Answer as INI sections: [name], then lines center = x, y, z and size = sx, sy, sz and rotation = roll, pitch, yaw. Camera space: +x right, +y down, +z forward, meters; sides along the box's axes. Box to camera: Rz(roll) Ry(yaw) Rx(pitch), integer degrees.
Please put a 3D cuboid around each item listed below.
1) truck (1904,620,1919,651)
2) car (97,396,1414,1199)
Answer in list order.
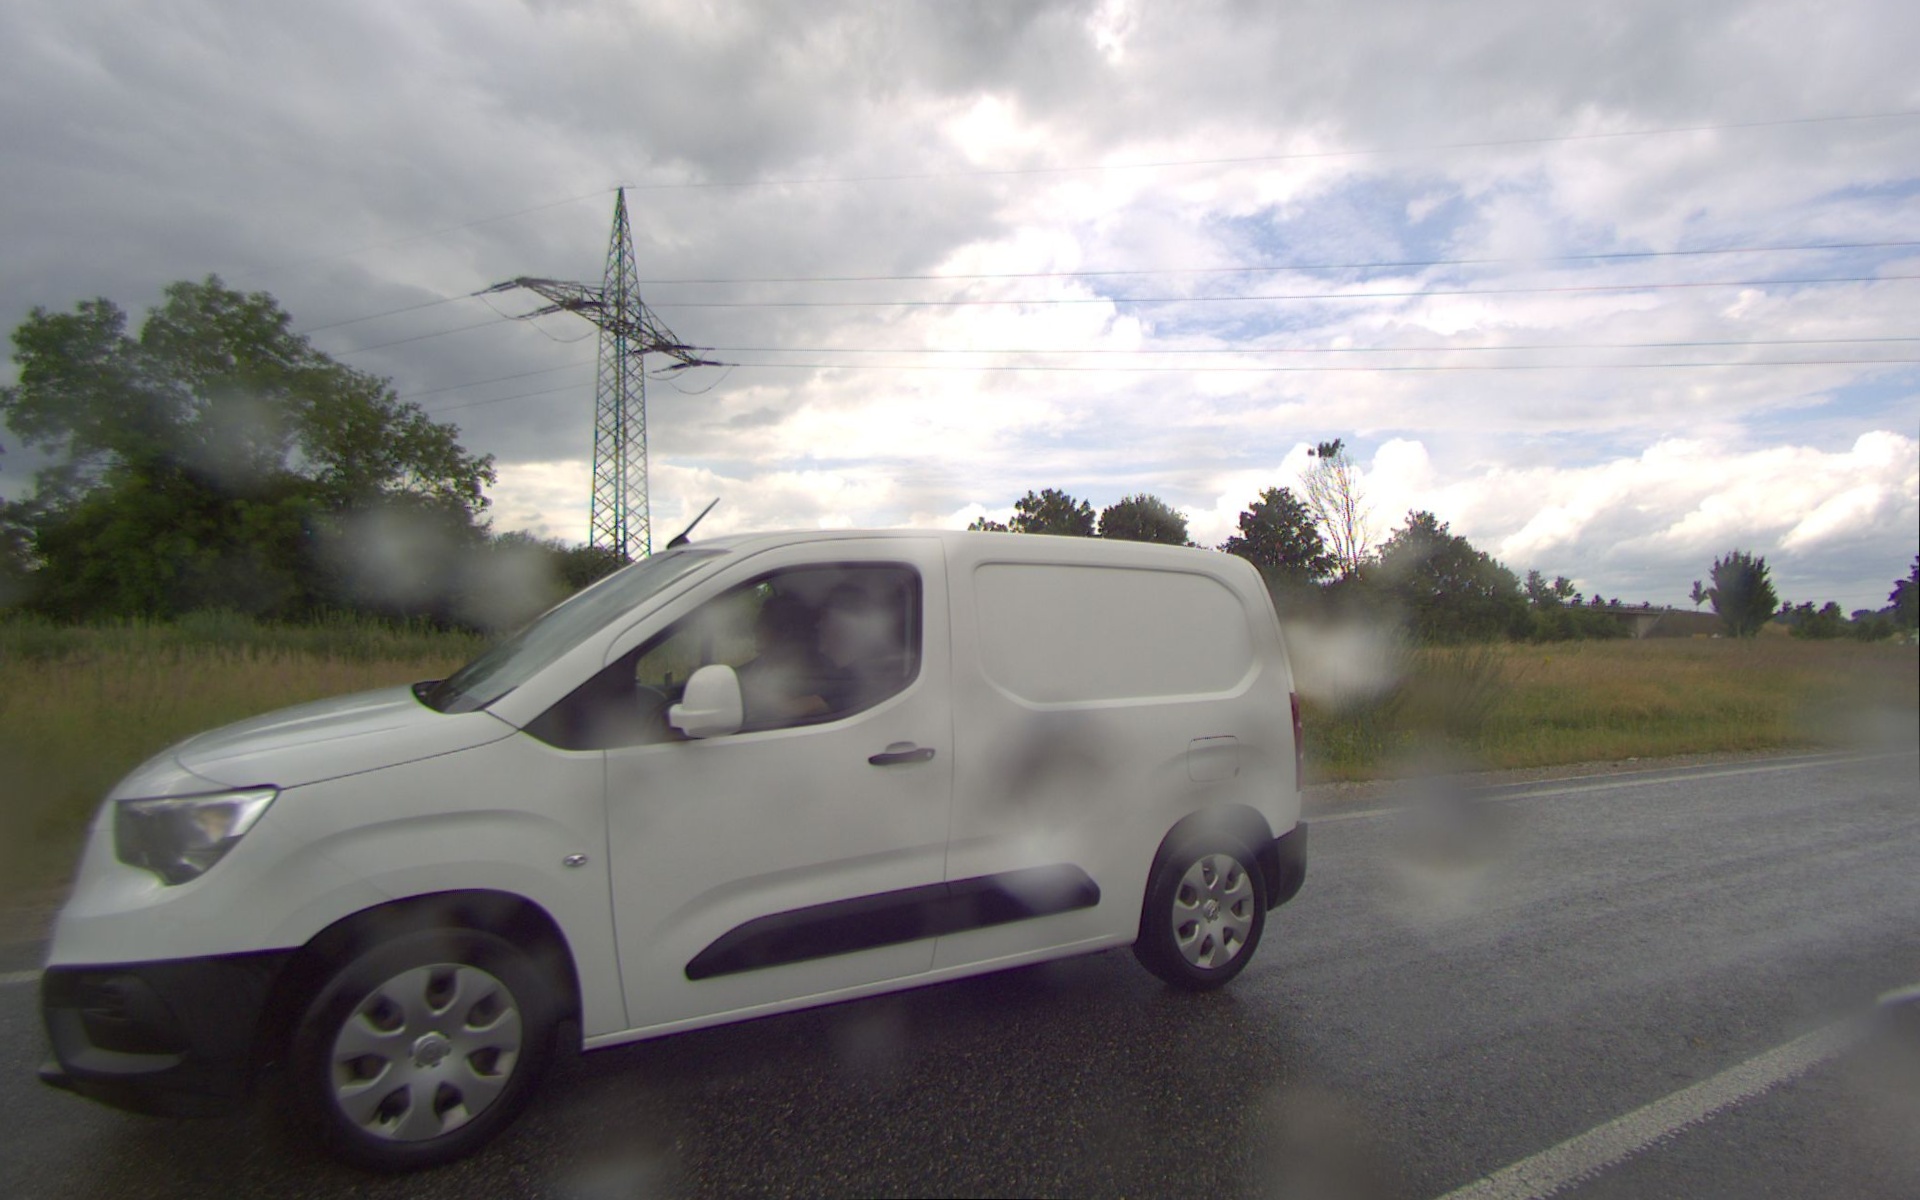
[truck]
center = 99.742, 3.661, 101.236
size = 2.962, 3.251, 8.237
rotation = 3, -1, 14
[car]
center = -0.395, 0.522, 4.073
size = 4.393, 1.880, 1.836
rotation = 1, 1, -30
